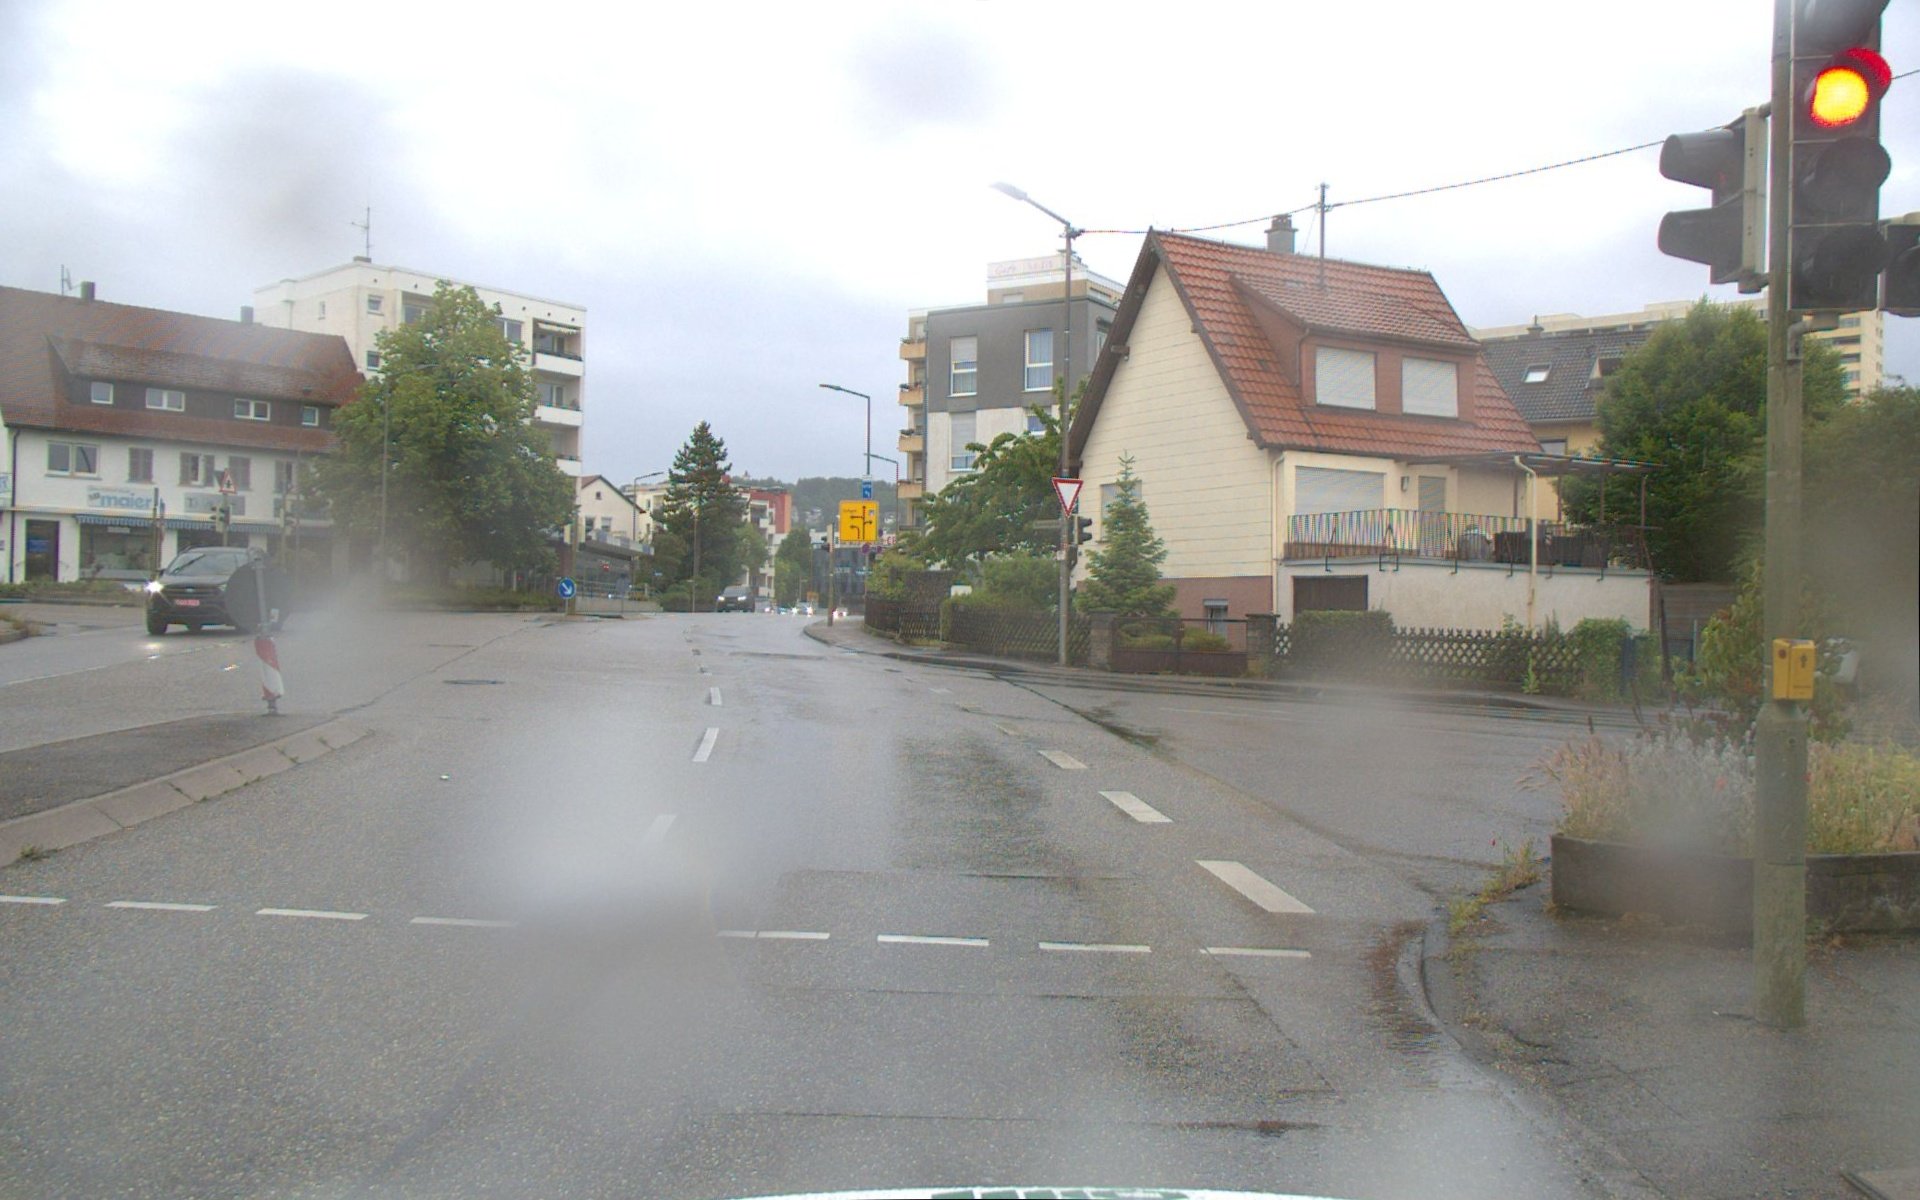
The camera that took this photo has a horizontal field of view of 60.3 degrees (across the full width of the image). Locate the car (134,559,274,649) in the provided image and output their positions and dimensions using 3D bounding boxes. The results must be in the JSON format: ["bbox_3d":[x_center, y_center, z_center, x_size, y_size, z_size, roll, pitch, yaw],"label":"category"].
[{"bbox_3d":[-14.784,0.083,32.546,1.848,1.625,4.166,1,0,-16],"label":"car"}]

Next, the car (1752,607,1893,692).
[{"bbox_3d":[15.626,0.859,29.873,1.780,1.386,3.986,1,0,35],"label":"car"}]

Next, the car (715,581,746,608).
[{"bbox_3d":[-15.500,-0.364,111.975,1.956,1.768,5.173,1,0,-7],"label":"car"}]

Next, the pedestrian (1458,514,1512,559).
[{"bbox_3d":[11.156,-1.341,35.174,0.902,0.898,0.632,1,-2,-20],"label":"pedestrian"}]

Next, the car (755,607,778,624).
[{"bbox_3d":[-17.714,1.387,151.714,1.955,1.489,3.995,1,0,-5],"label":"car"}]

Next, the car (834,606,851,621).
[{"bbox_3d":[-14.202,1.630,199.223,1.955,1.843,3.995,1,0,-5],"label":"car"}]

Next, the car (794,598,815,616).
[{"bbox_3d":[-15.068,0.687,160.184,1.955,1.708,3.995,1,0,-5],"label":"car"}]
